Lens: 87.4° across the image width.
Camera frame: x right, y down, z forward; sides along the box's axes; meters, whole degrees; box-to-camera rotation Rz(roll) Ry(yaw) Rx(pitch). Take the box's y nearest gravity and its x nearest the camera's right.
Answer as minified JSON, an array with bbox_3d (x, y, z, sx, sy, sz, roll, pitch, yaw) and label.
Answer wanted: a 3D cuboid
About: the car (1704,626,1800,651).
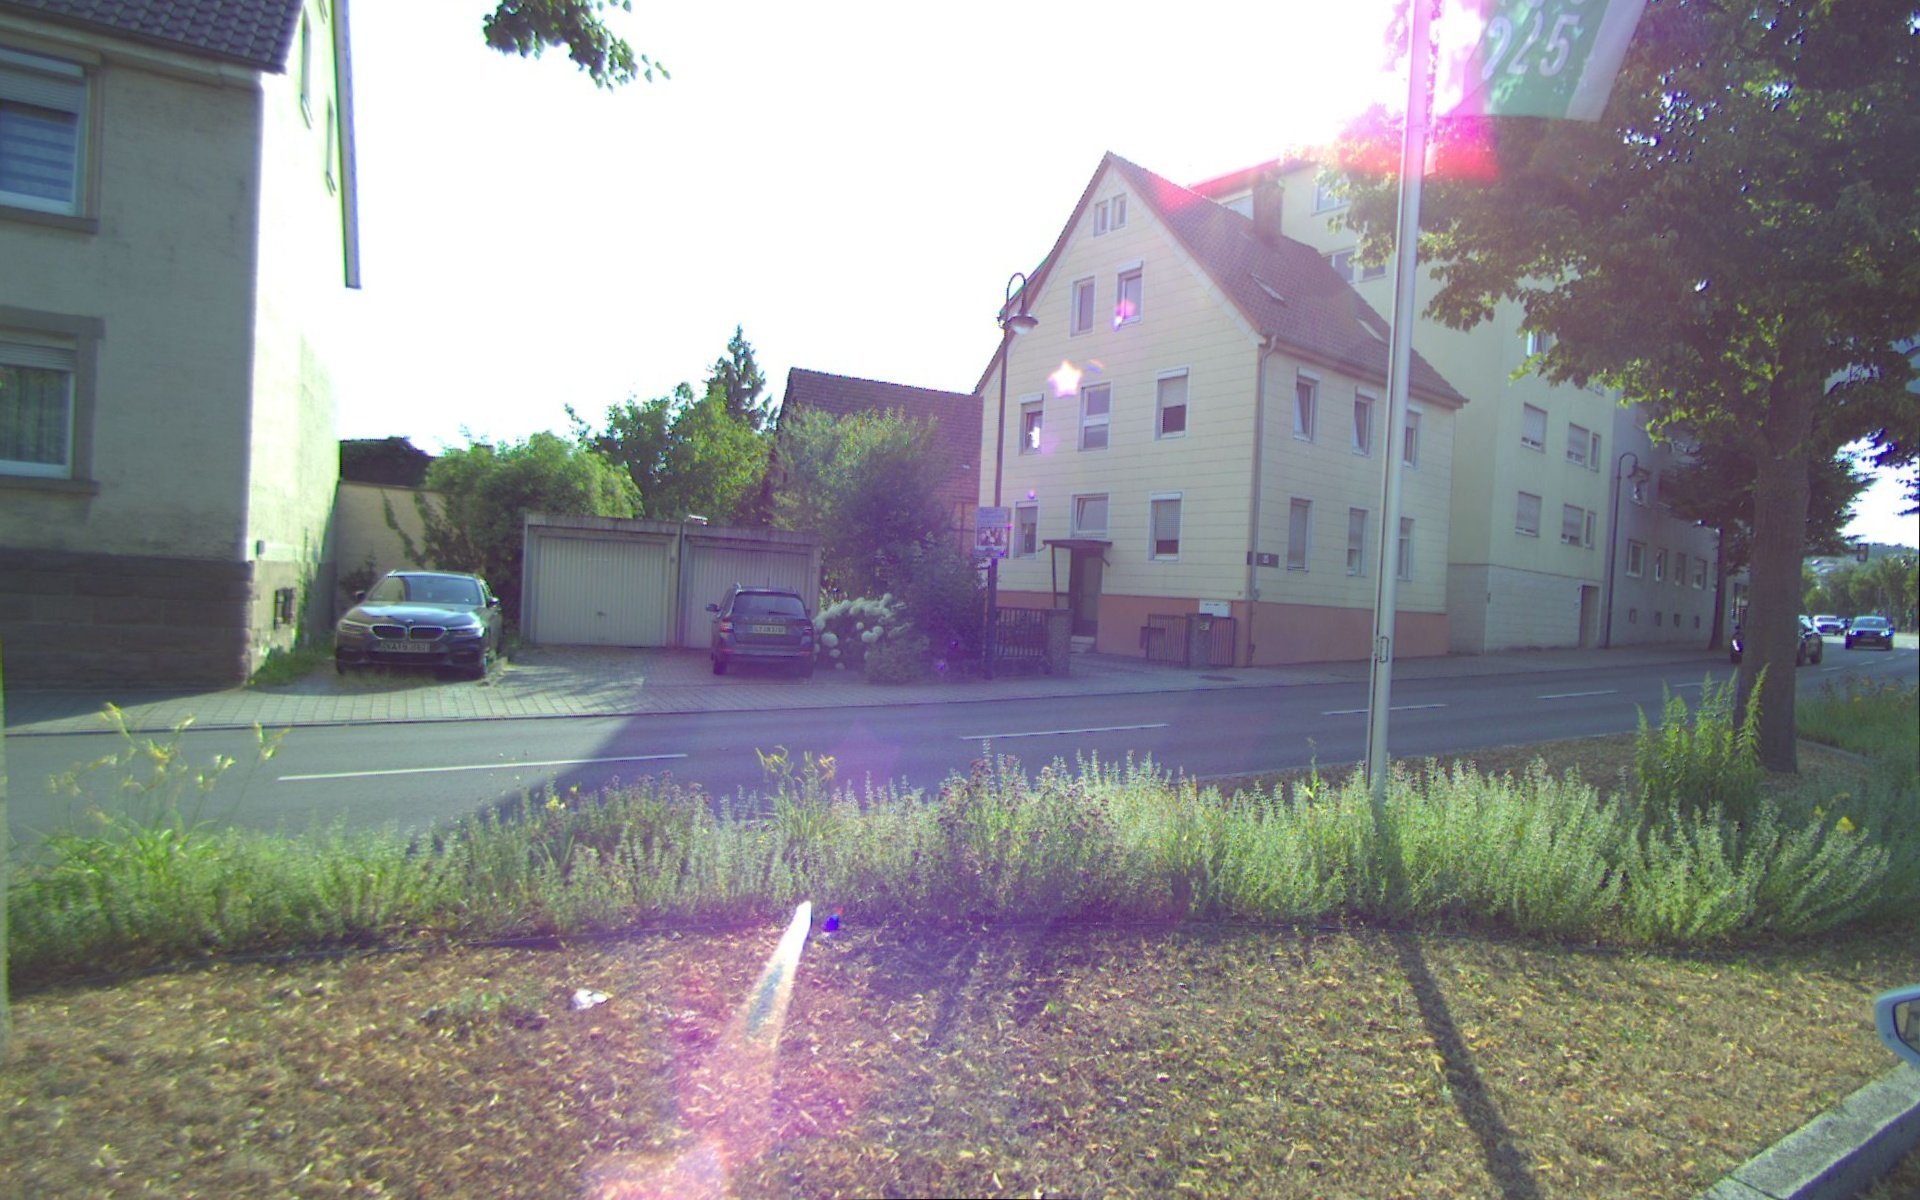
[{"bbox_3d":[52.530,2.501,66.683,4.808,1.456,1.905,1,0,44],"label":"car"}]

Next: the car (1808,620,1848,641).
[{"bbox_3d":[68.839,2.387,79.706,1.827,1.506,4.981,1,0,34],"label":"car"}]

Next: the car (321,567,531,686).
[{"bbox_3d":[-7.815,0.300,15.157,1.979,1.506,4.343,2,1,-17],"label":"car"}]

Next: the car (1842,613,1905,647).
[{"bbox_3d":[42.832,1.415,47.061,3.751,1.506,1.593,1,0,-39],"label":"car"}]

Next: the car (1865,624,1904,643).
[{"bbox_3d":[101.599,3.624,110.438,2.185,1.883,4.444,2,0,31],"label":"car"}]

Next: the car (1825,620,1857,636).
[{"bbox_3d":[111.583,3.537,127.268,2.185,1.792,4.444,2,0,31],"label":"car"}]

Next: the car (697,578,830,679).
[{"bbox_3d":[-3.602,0.420,17.815,1.914,1.506,4.345,2,1,-16],"label":"car"}]

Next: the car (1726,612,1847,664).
[{"bbox_3d":[26.222,1.181,31.830,4.283,1.506,1.926,1,0,-36],"label":"car"}]
